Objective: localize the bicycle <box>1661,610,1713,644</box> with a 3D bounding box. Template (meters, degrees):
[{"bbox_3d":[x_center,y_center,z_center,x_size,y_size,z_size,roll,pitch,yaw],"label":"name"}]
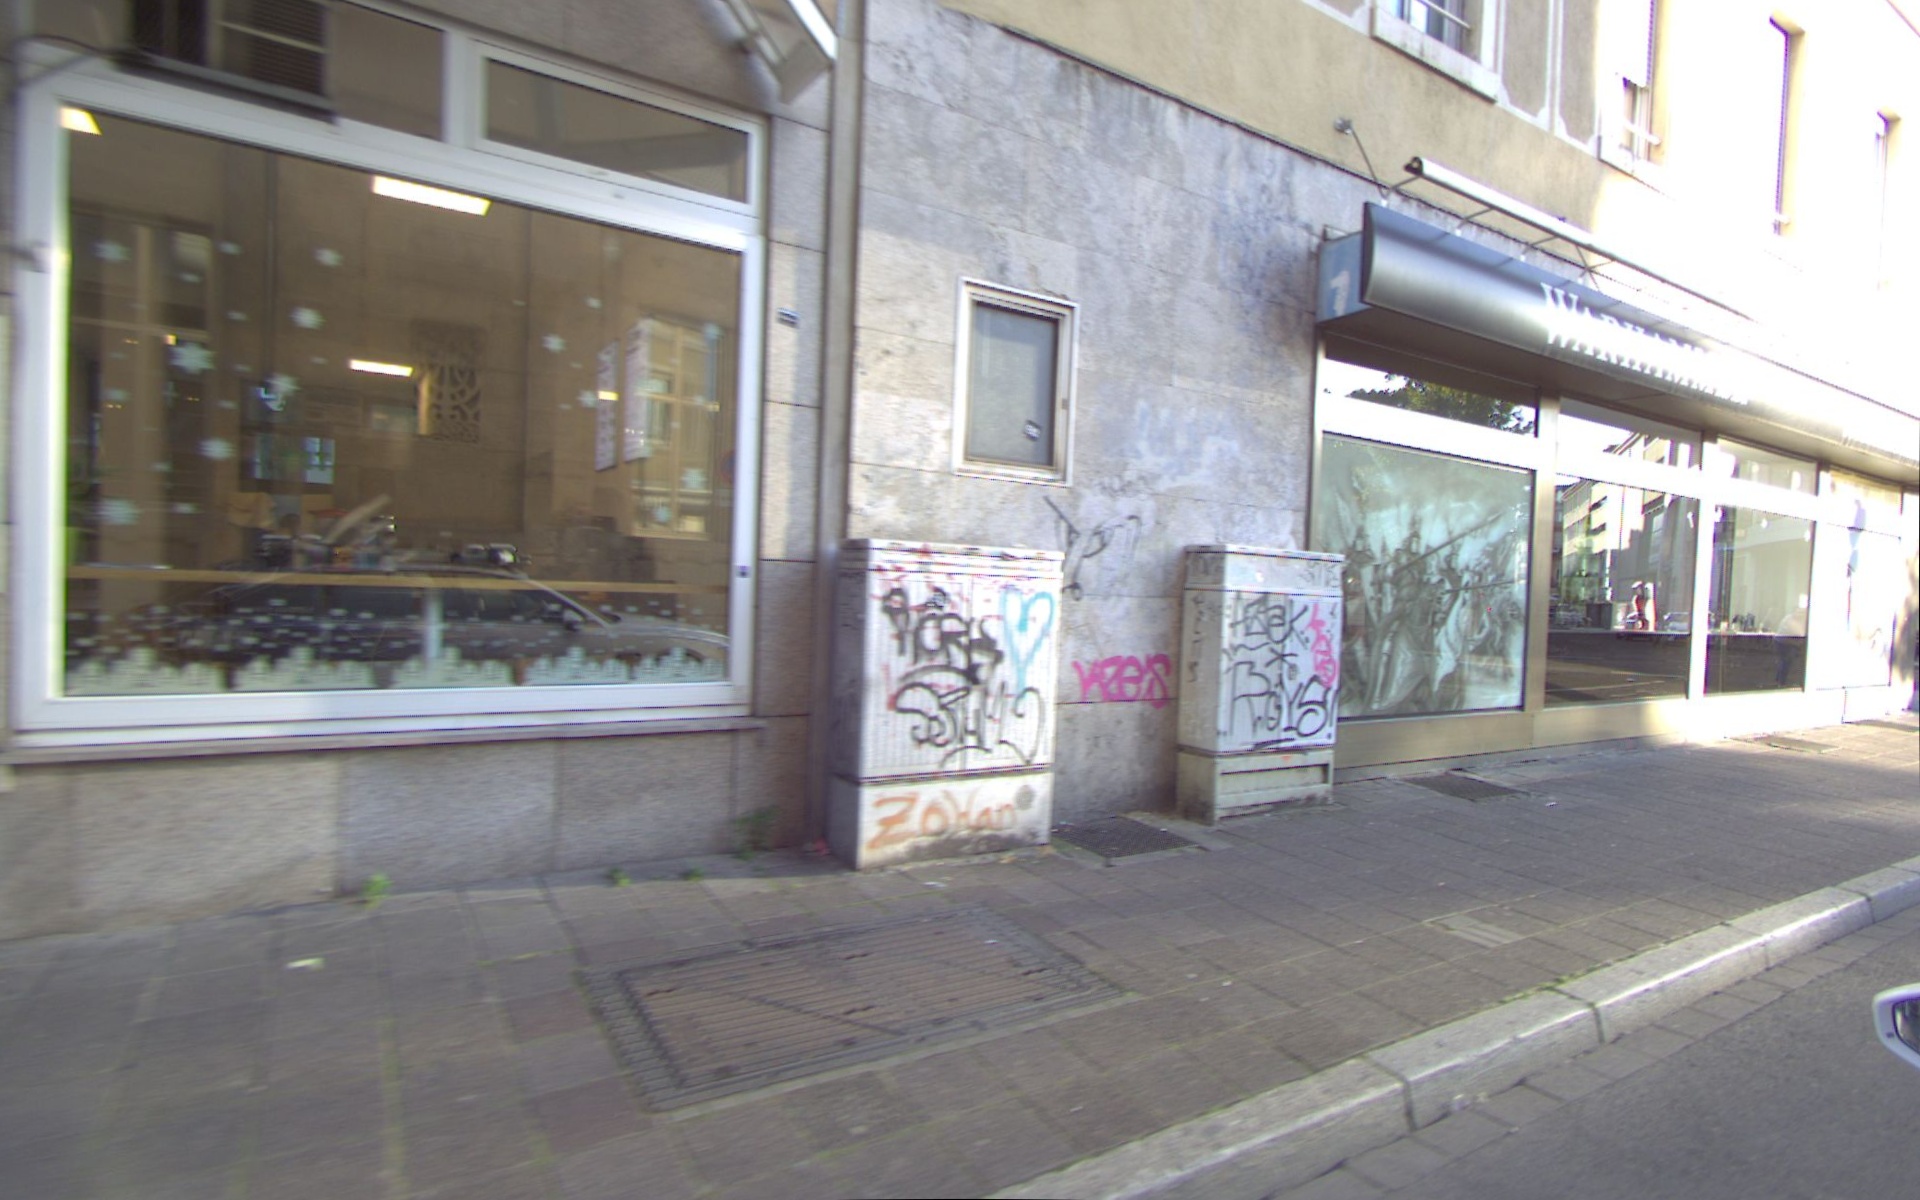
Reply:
[{"bbox_3d":[29.836,1.090,41.249,0.503,1.271,1.977,3,2,-4],"label":"bicycle"}]

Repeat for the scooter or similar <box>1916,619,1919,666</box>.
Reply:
[{"bbox_3d":[25.734,1.138,26.166,1.246,1.228,0.387,3,2,-3],"label":"scooter or similar"}]

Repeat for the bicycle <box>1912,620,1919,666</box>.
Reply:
[{"bbox_3d":[27.945,1.268,28.205,1.941,1.271,0.513,3,2,-3],"label":"bicycle"}]

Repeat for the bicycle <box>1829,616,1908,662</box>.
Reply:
[{"bbox_3d":[27.984,1.192,30.948,1.941,1.271,0.513,3,2,-3],"label":"bicycle"}]

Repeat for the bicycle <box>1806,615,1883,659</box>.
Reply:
[{"bbox_3d":[27.902,1.167,31.687,1.941,1.271,0.513,3,2,-3],"label":"bicycle"}]

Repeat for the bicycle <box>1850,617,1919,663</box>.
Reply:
[{"bbox_3d":[28.030,1.214,30.267,1.941,1.271,0.513,3,2,-3],"label":"bicycle"}]

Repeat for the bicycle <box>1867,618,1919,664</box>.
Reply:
[{"bbox_3d":[27.928,1.228,29.596,1.941,1.271,0.513,3,2,-3],"label":"bicycle"}]

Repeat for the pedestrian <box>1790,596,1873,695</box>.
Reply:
[{"bbox_3d":[14.981,0.773,17.281,0.793,1.634,0.731,2,2,-22],"label":"pedestrian"}]

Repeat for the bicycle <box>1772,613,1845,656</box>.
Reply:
[{"bbox_3d":[27.797,1.126,32.916,1.941,1.271,0.513,3,2,-3],"label":"bicycle"}]

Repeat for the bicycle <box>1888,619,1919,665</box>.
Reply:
[{"bbox_3d":[27.991,1.248,28.991,1.941,1.271,0.513,3,2,-3],"label":"bicycle"}]
